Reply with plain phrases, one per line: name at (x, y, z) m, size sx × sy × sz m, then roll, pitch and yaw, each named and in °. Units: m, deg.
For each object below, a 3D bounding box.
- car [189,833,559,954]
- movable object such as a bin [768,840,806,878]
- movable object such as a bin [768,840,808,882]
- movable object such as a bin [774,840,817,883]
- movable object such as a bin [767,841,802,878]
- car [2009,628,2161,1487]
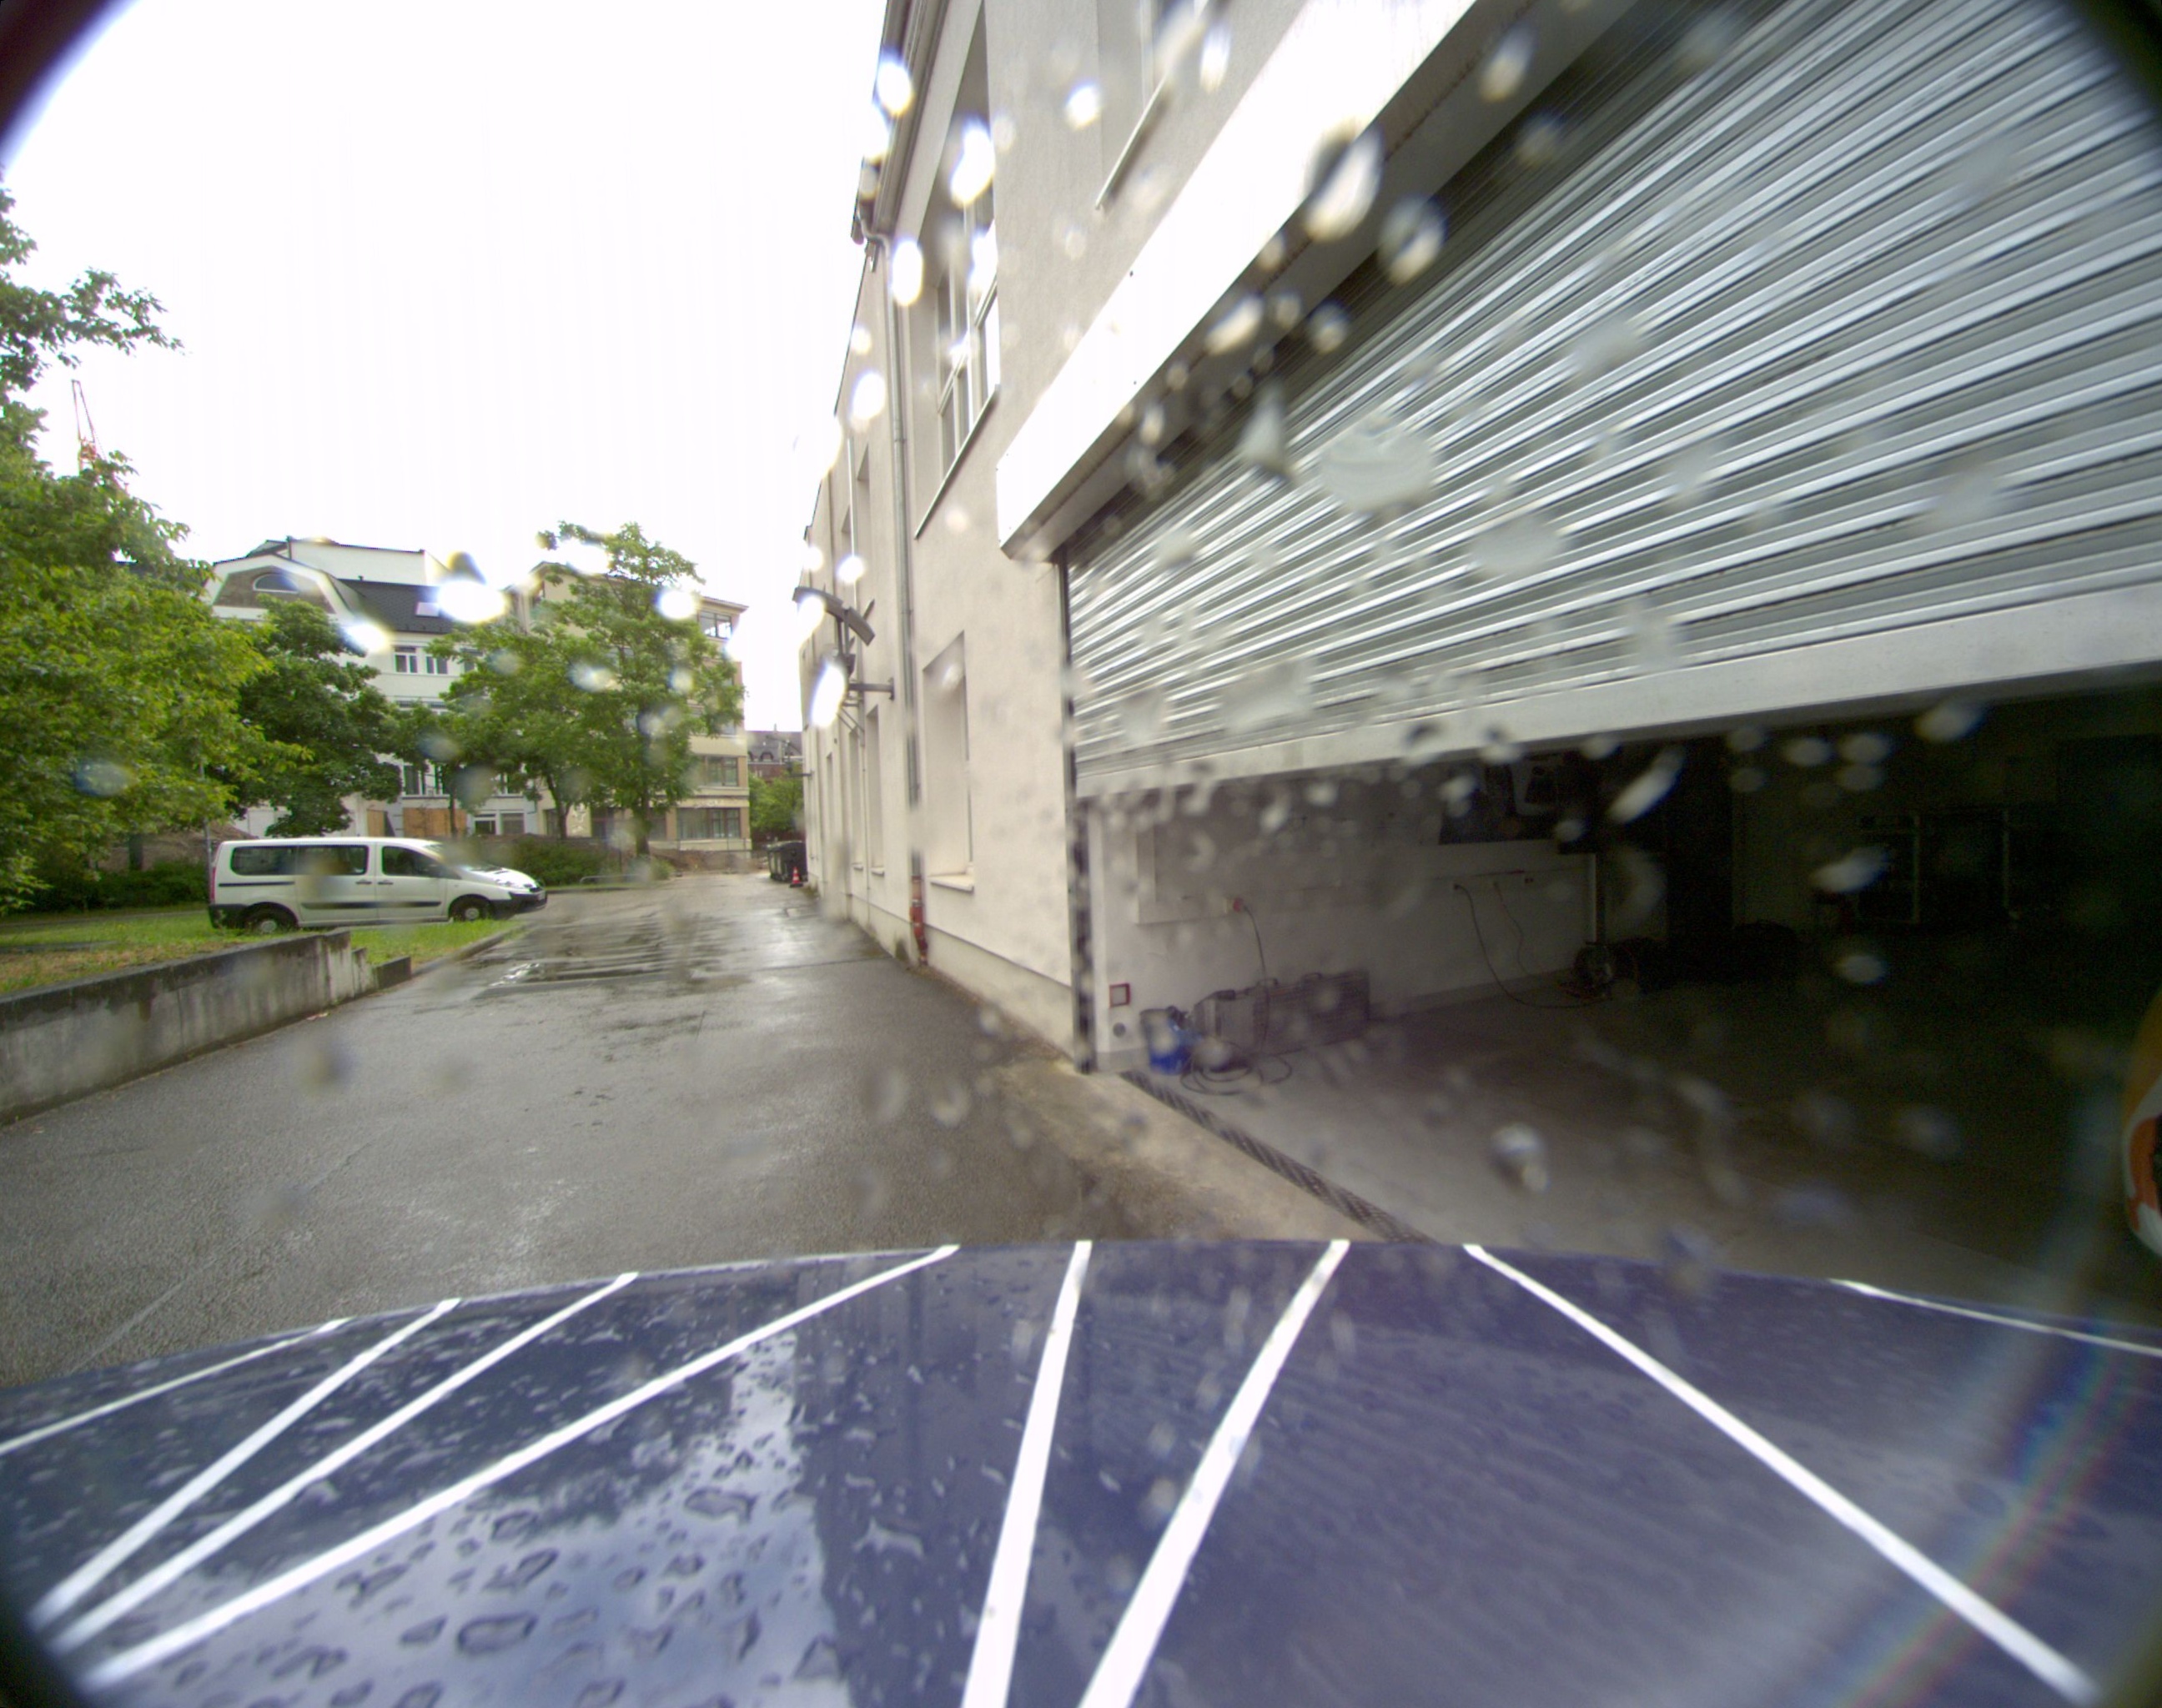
car at (-13.778, 0.648, 15.313) m, size 4.894 × 1.915 × 2.095 m, roll -4°, pitch 4°, yaw -22°
movable object such as a bin at (-12.044, 0.207, 31.073) m, size 1.170 × 1.474 × 1.399 m, roll -4°, pitch 1°, yaw -30°
movable object such as a bin at (-10.944, 0.234, 28.397) m, size 1.170 × 1.475 × 1.493 m, roll -2°, pitch 2°, yaw -29°
movable object such as a bin at (-10.178, 0.246, 27.031) m, size 1.170 × 1.475 × 1.590 m, roll -2°, pitch 2°, yaw -29°
movable object such as a bin at (-12.666, 0.201, 32.479) m, size 1.105 × 1.465 × 1.483 m, roll -3°, pitch 3°, yaw -14°
car at (4.964, 0.355, 1.970) m, size 4.710 × 2.003 × 2.080 m, roll -4°, pitch 3°, yaw -24°
